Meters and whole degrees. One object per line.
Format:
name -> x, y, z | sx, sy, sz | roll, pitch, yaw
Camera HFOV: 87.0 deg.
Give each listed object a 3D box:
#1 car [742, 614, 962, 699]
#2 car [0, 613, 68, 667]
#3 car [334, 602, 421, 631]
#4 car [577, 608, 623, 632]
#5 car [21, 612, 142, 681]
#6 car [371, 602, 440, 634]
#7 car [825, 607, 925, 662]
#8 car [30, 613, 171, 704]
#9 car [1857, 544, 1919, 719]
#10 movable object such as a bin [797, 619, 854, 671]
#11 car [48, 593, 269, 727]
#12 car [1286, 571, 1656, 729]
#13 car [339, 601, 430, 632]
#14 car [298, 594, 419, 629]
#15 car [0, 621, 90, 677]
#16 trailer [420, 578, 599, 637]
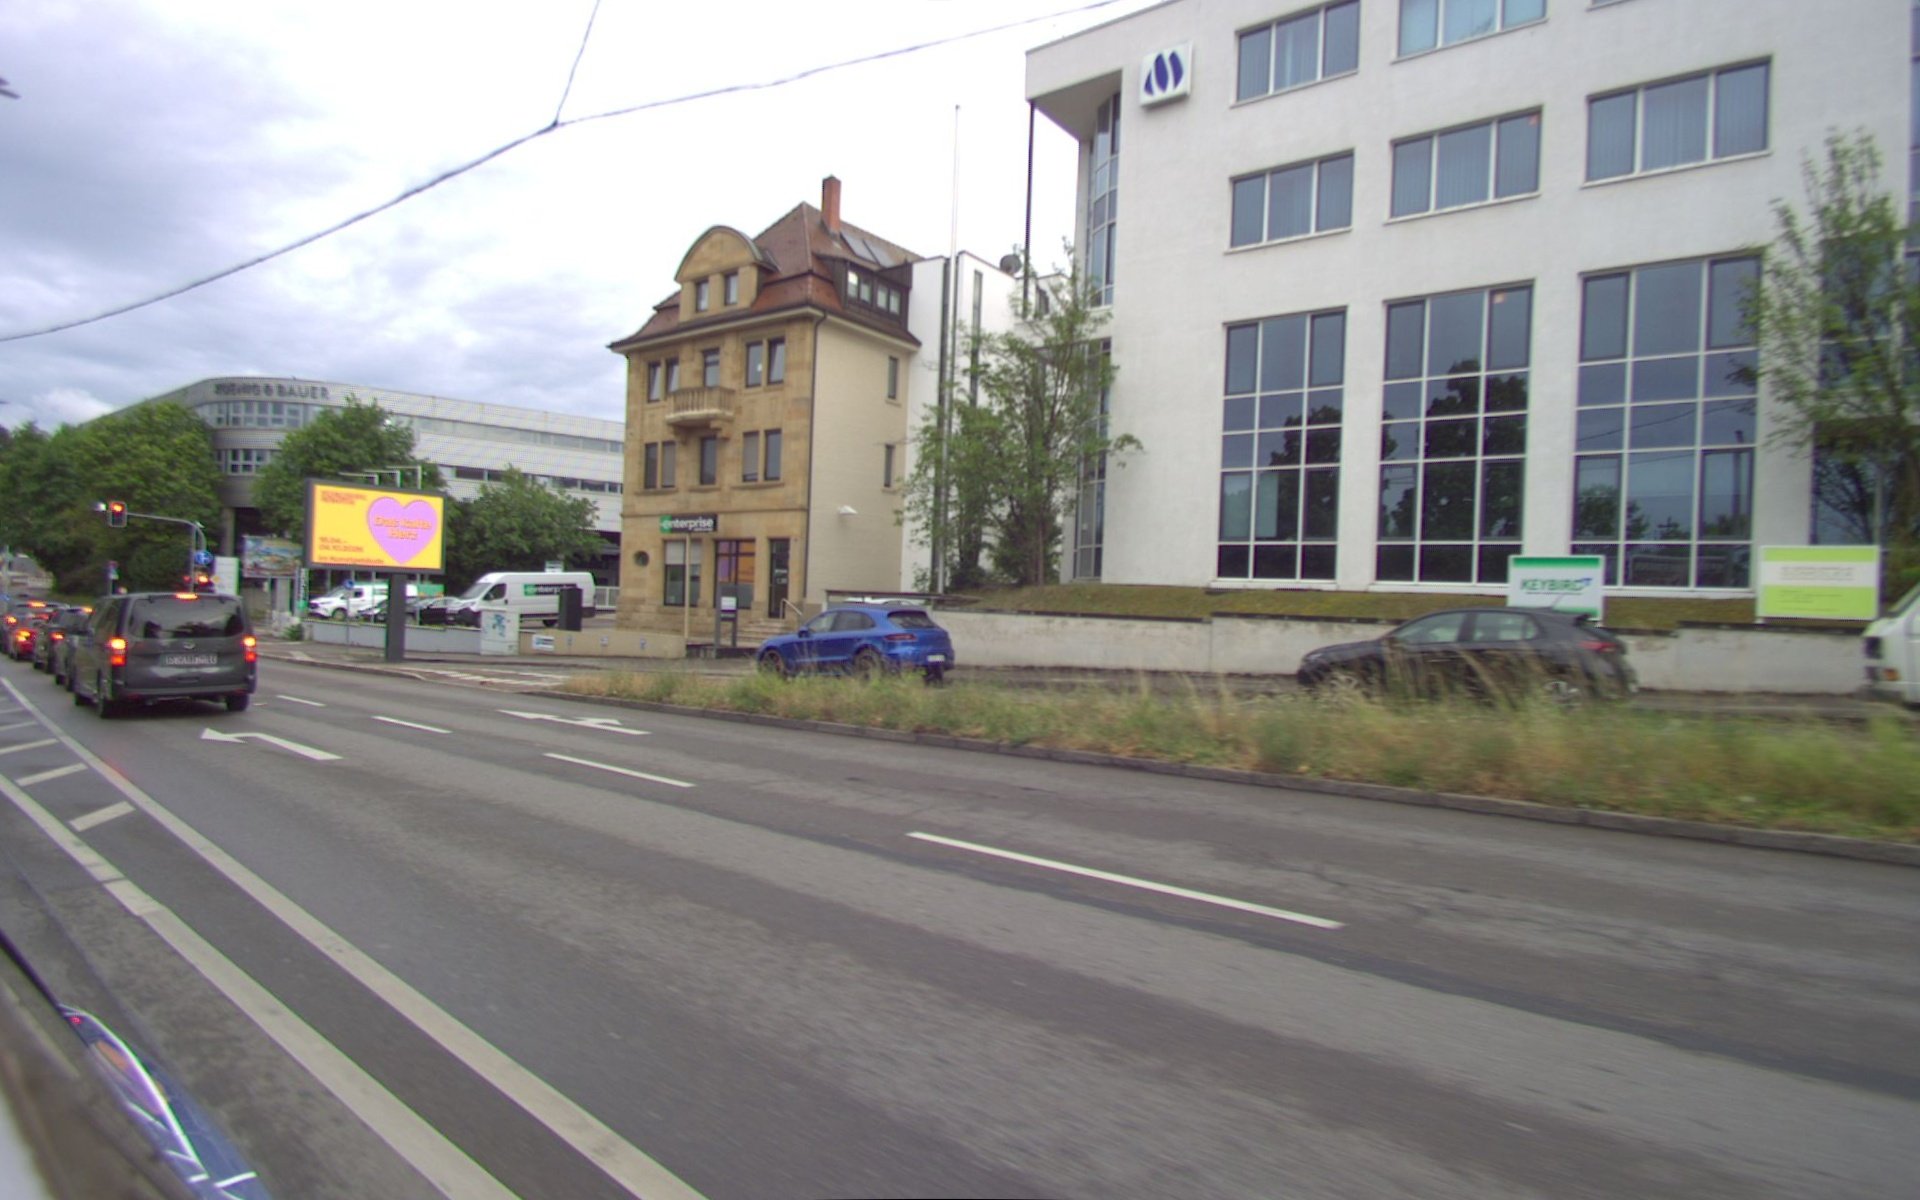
car -> -2.280, 1.122, 20.497 | 4.667, 1.546, 1.671 | -2, -3, 40
car -> -34.173, 1.417, 36.902 | 5.170, 1.832, 1.913 | 0, -2, 43
car -> -30.393, 0.826, 52.850 | 1.872, 1.379, 3.573 | 1, 2, 42
car -> -22.159, 1.217, 62.178 | 1.351, 1.417, 4.350 | 2, -2, -37
car -> -23.601, 1.194, 27.138 | 4.625, 1.710, 1.933 | -1, -2, 43
car -> -26.683, 0.862, 48.719 | 1.227, 1.435, 2.650 | 1, 2, 42
car -> -2.818, 1.135, 33.878 | 1.713, 1.688, 3.014 | 2, -1, 37
car -> -18.673, 1.185, 21.910 | 4.727, 1.616, 1.670 | 2, -1, 42
car -> 11.684, 0.282, 9.621 | 4.579, 1.759, 1.753 | -2, -3, 40
movable object such as a bin -> -3.839, 1.272, 28.882 | 1.096, 1.416, 1.175 | -2, -1, 37
car -> -13.250, 0.905, 16.612 | 5.040, 1.881, 1.993 | -1, -3, 42
car -> 6.464, 0.639, 13.055 | 3.989, 1.735, 1.594 | -2, -3, 39
car -> -28.466, 0.805, 50.132 | 1.741, 1.379, 3.573 | 1, 2, 42
car -> -33.484, 0.657, 56.497 | 2.215, 1.815, 5.310 | 2, -1, 34
car -> -29.557, 1.522, 32.568 | 4.440, 1.542, 1.787 | 2, -1, 42
trailer -> -20.199, 0.386, 45.741 | 2.394, 2.446, 7.024 | 2, -1, 40
